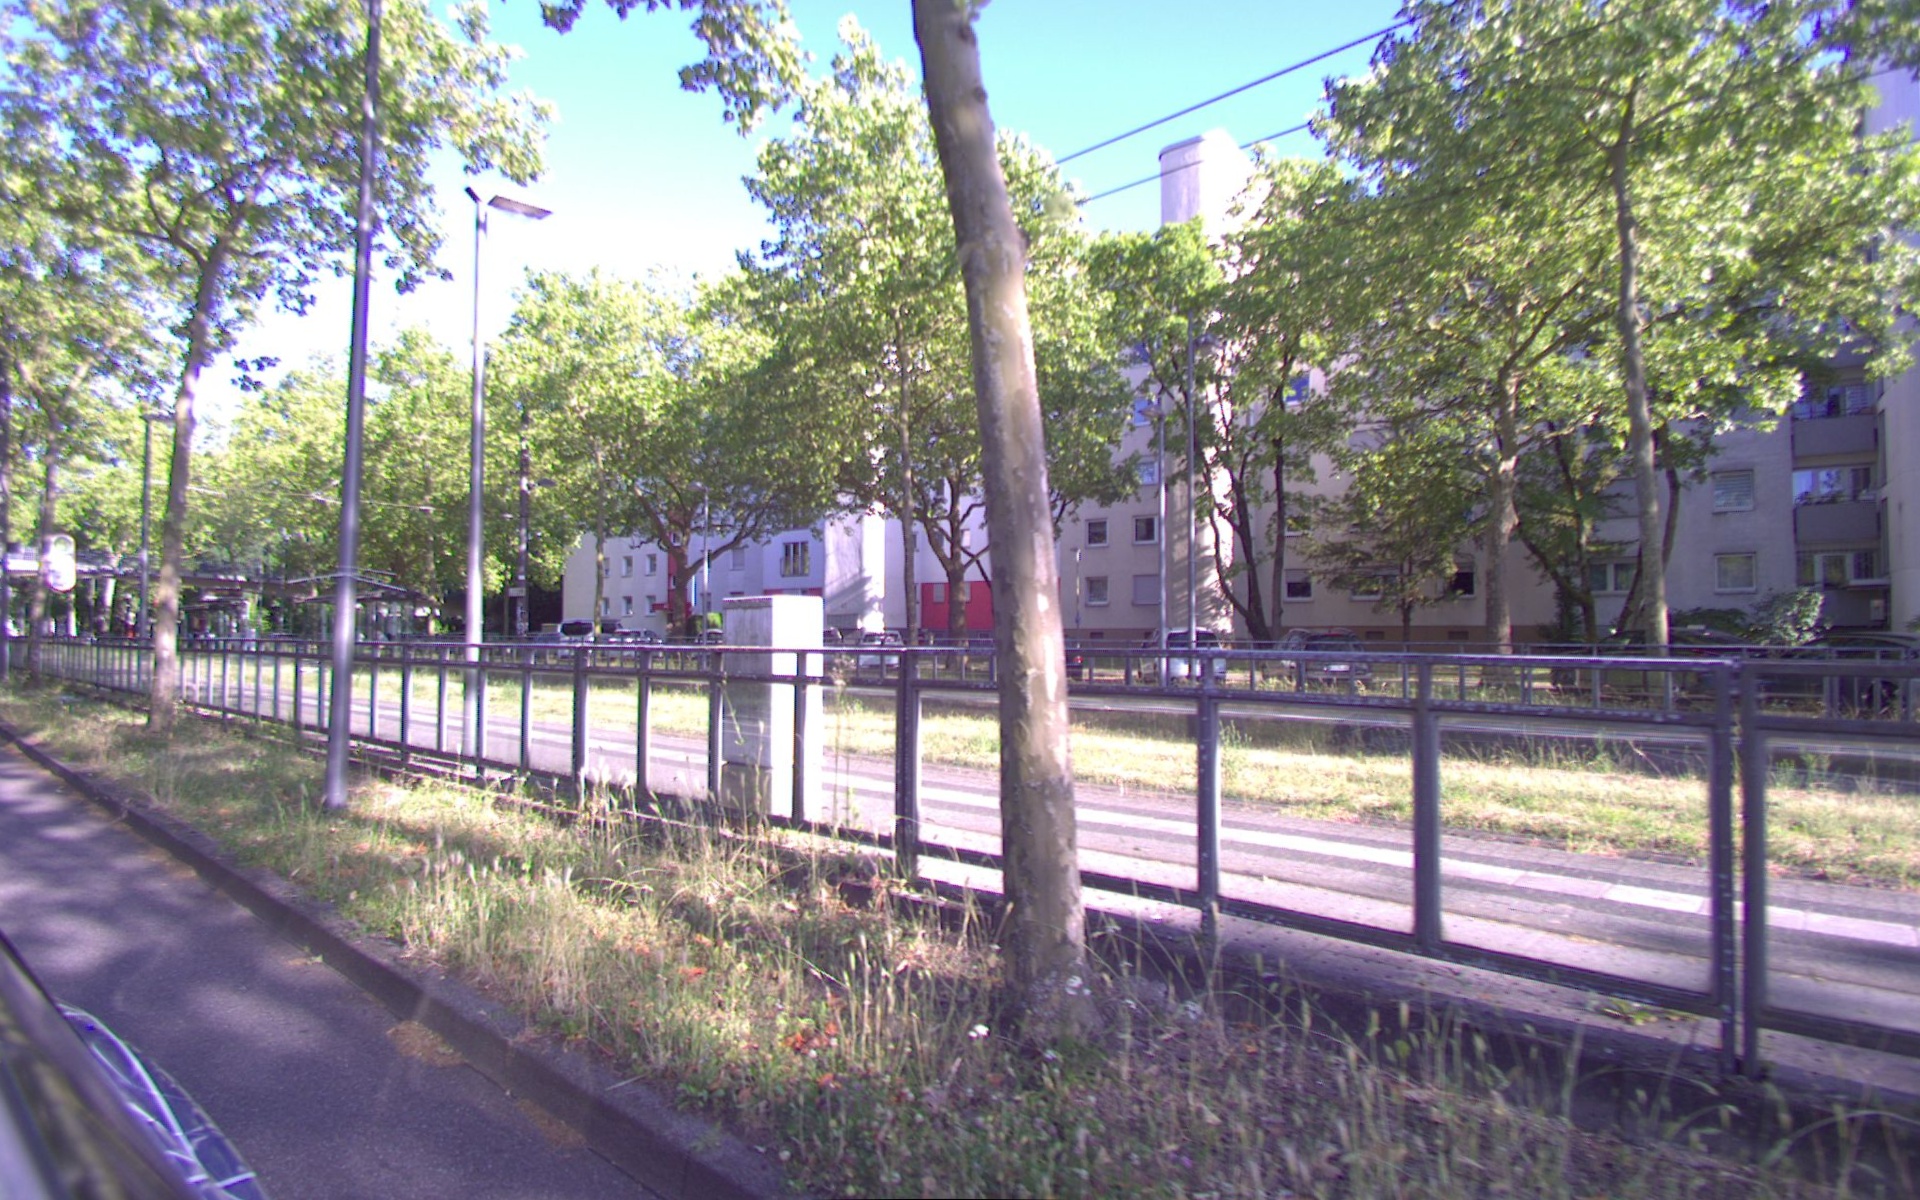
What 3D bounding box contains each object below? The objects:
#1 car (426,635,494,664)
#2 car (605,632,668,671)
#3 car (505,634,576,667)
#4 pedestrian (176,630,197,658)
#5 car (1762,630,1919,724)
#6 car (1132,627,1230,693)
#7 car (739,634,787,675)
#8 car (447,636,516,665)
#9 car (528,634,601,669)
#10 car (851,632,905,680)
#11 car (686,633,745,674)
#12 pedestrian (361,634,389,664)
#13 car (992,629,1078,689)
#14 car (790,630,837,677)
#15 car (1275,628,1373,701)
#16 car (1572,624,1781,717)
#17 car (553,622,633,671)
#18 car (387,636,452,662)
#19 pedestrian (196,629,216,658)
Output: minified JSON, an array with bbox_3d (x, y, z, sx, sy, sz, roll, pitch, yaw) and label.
[{"bbox_3d":[-28.354,2.788,57.514,1.677,1.439,4.197,-2,-1,2],"label":"car"},{"bbox_3d":[-14.371,2.245,45.157,1.665,1.623,4.062,-1,-2,-3],"label":"car"},{"bbox_3d":[-21.490,2.537,52.035,1.873,1.509,4.500,-2,-1,-1],"label":"car"},{"bbox_3d":[-43.271,2.455,56.629,0.681,1.525,0.638,-1,-4,28],"label":"pedestrian"},{"bbox_3d":[15.791,1.249,17.119,1.516,1.437,3.388,0,-1,-6],"label":"car"},{"bbox_3d":[5.718,1.524,26.598,1.623,1.556,3.993,-1,-2,0],"label":"car"},{"bbox_3d":[-7.563,2.059,39.110,1.551,1.443,4.066,-1,-2,-8],"label":"car"},{"bbox_3d":[-26.242,2.738,55.666,1.677,1.439,4.197,-2,-1,2],"label":"car"},{"bbox_3d":[-19.163,2.470,49.243,1.873,1.509,4.500,-2,-1,-1],"label":"car"},{"bbox_3d":[-2.806,1.844,34.019,1.551,1.485,4.066,-1,-2,-8],"label":"car"},{"bbox_3d":[-9.838,2.110,40.988,1.870,1.515,4.507,-1,-2,-7],"label":"car"},{"bbox_3d":[-22.563,1.889,39.026,0.662,1.136,0.687,-2,-6,42],"label":"pedestrian"},{"bbox_3d":[2.081,1.659,29.296,1.620,1.556,4.182,-1,-2,-8],"label":"car"},{"bbox_3d":[-5.322,1.904,36.950,1.551,1.580,4.066,-1,-2,-8],"label":"car"},{"bbox_3d":[8.559,1.471,24.021,1.448,1.520,3.376,-2,-1,8],"label":"car"},{"bbox_3d":[13.357,1.260,19.085,1.442,1.559,3.143,-1,-2,-6],"label":"car"},{"bbox_3d":[-16.846,2.086,46.714,1.875,2.079,4.496,-2,-1,2],"label":"car"},{"bbox_3d":[-33.186,2.972,62.259,1.677,1.439,4.197,-2,-1,2],"label":"car"},{"bbox_3d":[-42.355,2.437,56.844,0.714,1.647,0.722,-1,-3,39],"label":"pedestrian"}]
